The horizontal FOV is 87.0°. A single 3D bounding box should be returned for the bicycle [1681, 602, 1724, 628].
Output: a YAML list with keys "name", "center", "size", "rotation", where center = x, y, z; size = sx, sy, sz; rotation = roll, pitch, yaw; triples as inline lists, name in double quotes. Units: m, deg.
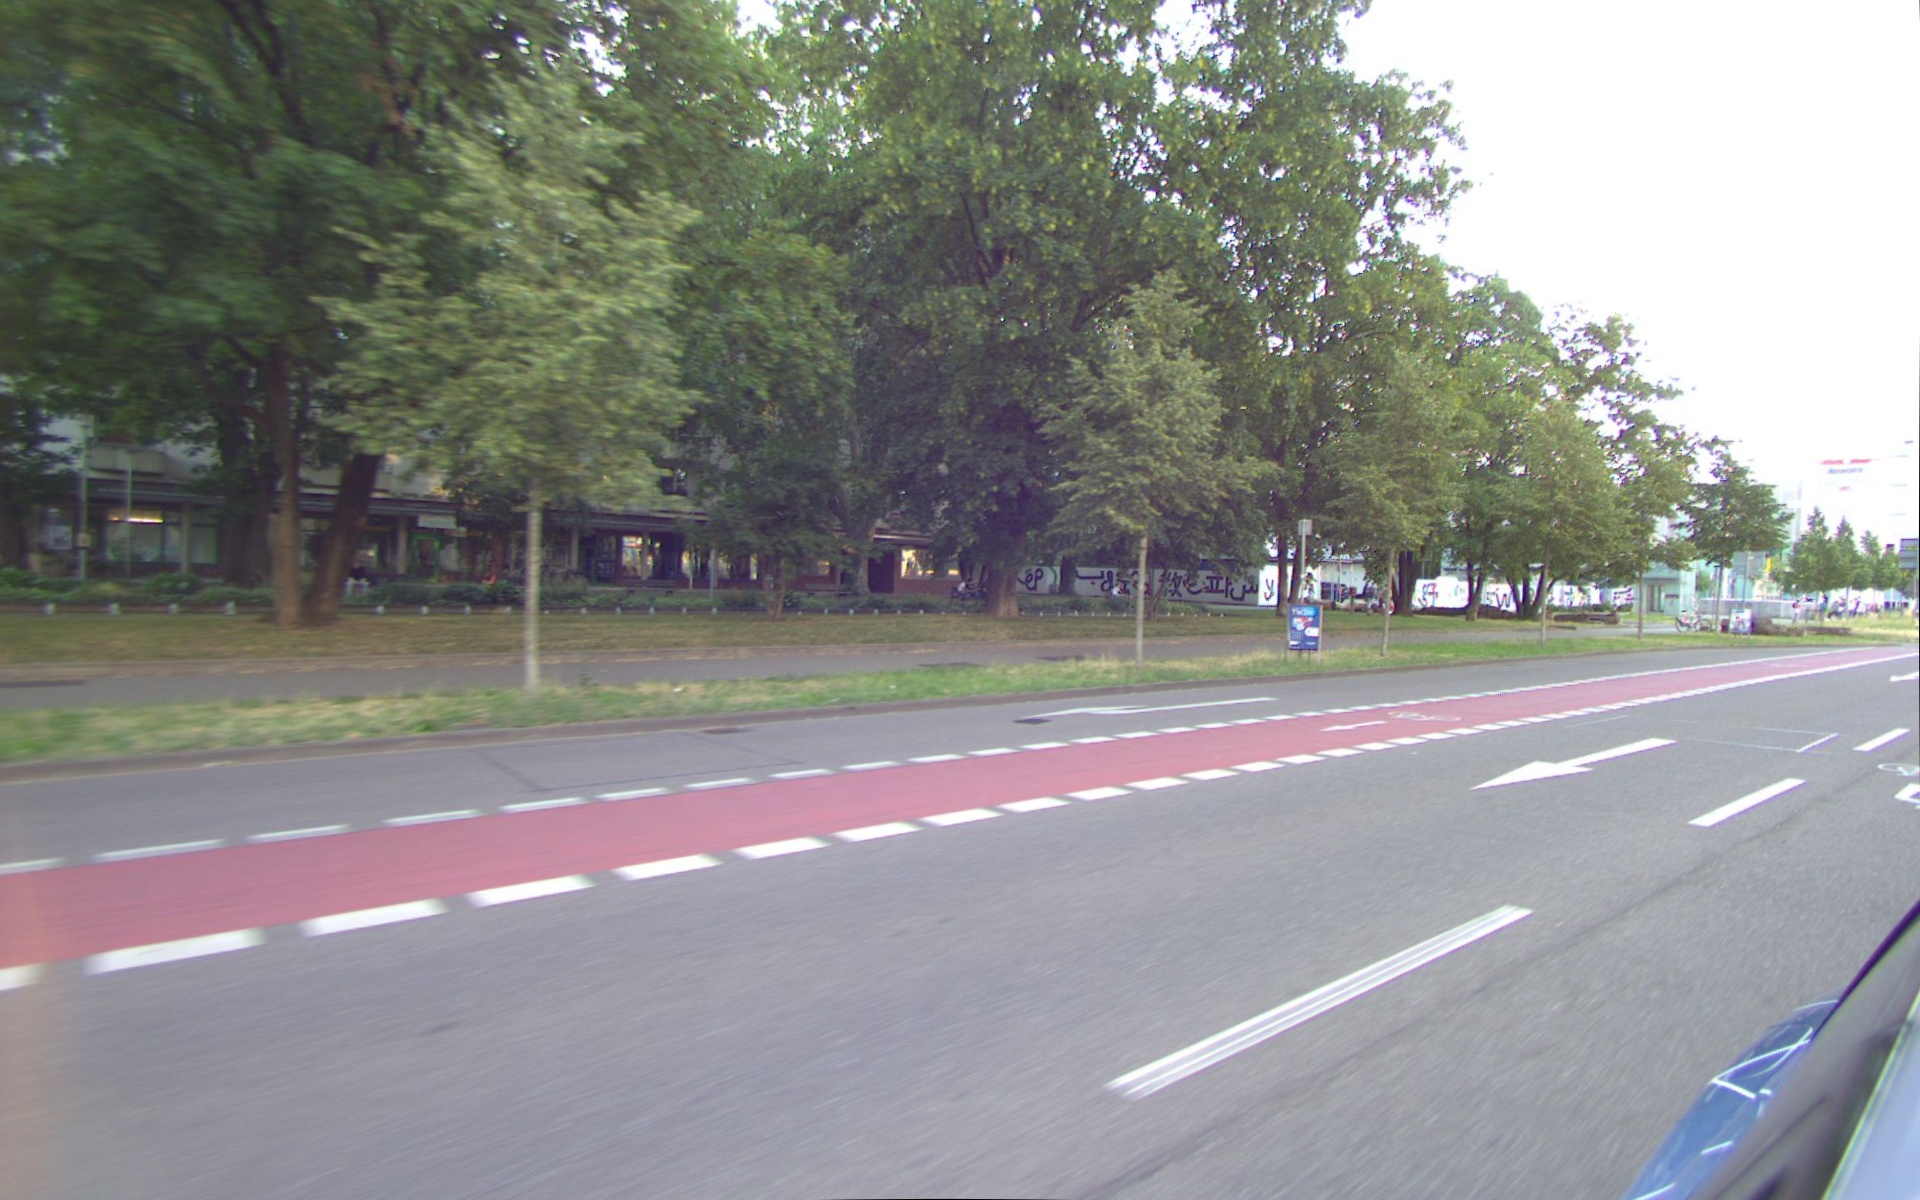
- name: "bicycle"
  center: [32.421, 0.658, 44.202]
  size: [1.858, 1.017, 0.497]
  rotation: [2, 3, -20]

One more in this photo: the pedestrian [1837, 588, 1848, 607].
- name: "pedestrian"
  center: [87.976, -0.250, 100.859]
  size: [0.575, 1.877, 0.605]
  rotation: [1, 1, -34]

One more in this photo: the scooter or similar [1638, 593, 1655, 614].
- name: "scooter or similar"
  center: [42.386, 0.199, 62.472]
  size: [1.373, 1.235, 0.425]
  rotation: [1, 4, -39]

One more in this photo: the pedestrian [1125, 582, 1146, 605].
- name: "pedestrian"
  center: [9.306, -0.369, 53.704]
  size: [0.754, 1.178, 0.787]
  rotation: [0, 2, -45]

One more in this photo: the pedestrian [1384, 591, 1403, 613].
- name: "pedestrian"
  center: [18.113, 0.086, 42.297]
  size: [0.674, 0.895, 0.588]
  rotation: [2, 1, 26]

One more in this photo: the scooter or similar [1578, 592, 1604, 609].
- name: "scooter or similar"
  center: [47.022, 0.050, 75.451]
  size: [0.466, 1.236, 1.572]
  rotation: [1, 0, -41]

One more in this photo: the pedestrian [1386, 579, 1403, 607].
- name: "pedestrian"
  center: [28.500, -0.457, 66.453]
  size: [0.587, 1.843, 0.771]
  rotation: [1, 1, -25]

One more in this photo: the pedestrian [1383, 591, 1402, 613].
- name: "pedestrian"
  center: [18.333, 0.066, 42.866]
  size: [0.675, 0.895, 0.618]
  rotation: [2, 1, 27]

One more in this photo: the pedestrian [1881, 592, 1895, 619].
- name: "pedestrian"
  center: [69.424, 0.403, 75.694]
  size: [0.608, 1.957, 0.644]
  rotation: [1, 1, -39]

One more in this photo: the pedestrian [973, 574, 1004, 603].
- name: "pedestrian"
  center: [1.306, -0.543, 46.605]
  size: [0.888, 1.276, 1.135]
  rotation: [1, 2, -37]

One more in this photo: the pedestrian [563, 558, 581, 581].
- name: "pedestrian"
  center: [-19.812, -1.554, 51.679]
  size: [0.687, 1.178, 0.789]
  rotation: [1, 1, -36]

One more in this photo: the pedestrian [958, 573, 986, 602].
- name: "pedestrian"
  center: [0.528, -0.562, 46.083]
  size: [0.712, 1.276, 1.135]
  rotation: [1, 2, -37]

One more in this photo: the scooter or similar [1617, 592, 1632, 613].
- name: "scooter or similar"
  center: [41.592, 0.161, 63.333]
  size: [0.473, 1.235, 1.549]
  rotation: [6, 4, 43]

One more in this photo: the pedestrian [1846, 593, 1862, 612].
- name: "pedestrian"
  center: [89.253, 0.248, 101.056]
  size: [0.882, 1.877, 0.723]
  rotation: [2, 1, 17]

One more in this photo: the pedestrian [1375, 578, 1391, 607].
- name: "pedestrian"
  center: [27.768, -0.509, 66.442]
  size: [0.587, 1.879, 0.771]
  rotation: [1, 1, -25]

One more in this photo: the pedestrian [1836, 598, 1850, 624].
- name: "pedestrian"
  center: [67.723, 0.812, 77.606]
  size: [0.608, 1.957, 0.644]
  rotation: [2, 1, -37]

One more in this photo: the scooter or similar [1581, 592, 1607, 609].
- name: "scooter or similar"
  center: [47.593, 0.037, 76.021]
  size: [0.466, 1.236, 1.572]
  rotation: [1, 0, -41]
